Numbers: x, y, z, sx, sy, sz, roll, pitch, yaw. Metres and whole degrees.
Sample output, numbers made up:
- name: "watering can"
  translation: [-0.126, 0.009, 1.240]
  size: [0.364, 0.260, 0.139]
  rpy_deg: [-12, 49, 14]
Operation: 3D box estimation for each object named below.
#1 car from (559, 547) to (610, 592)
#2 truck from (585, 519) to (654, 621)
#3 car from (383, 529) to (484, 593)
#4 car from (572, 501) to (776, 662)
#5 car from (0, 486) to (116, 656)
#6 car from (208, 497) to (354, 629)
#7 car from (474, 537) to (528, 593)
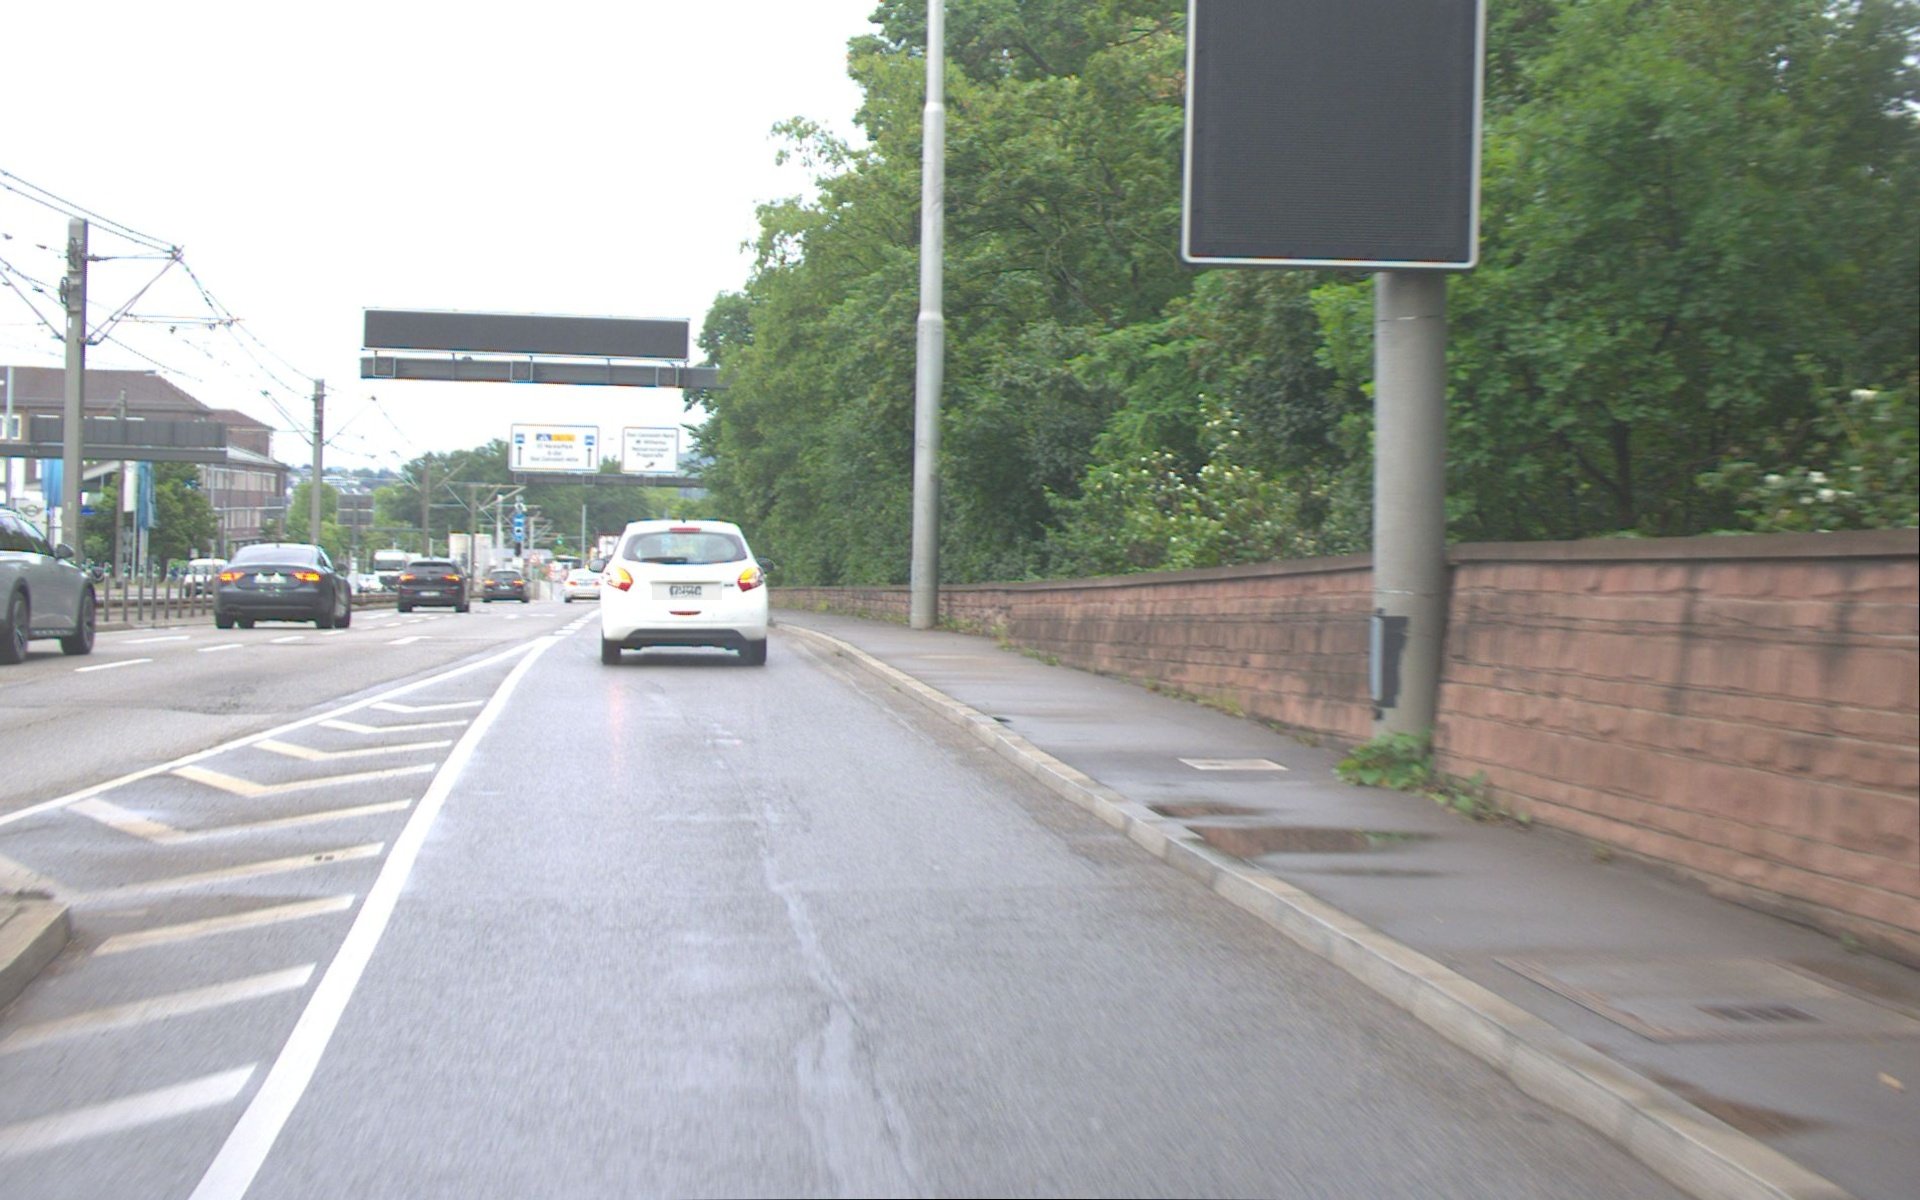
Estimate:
- name: "car"
  translation: [-16.308, -1.304, 149.324]
  size: [2.081, 1.866, 4.096]
  rpy_deg: [1, -1, -5]
- name: "truck"
  translation: [-20.592, -1.740, 208.475]
  size: [3.464, 5.383, 12.051]
  rpy_deg: [2, -3, -3]
- name: "car"
  translation: [-14.037, -1.031, 91.851]
  size: [1.993, 1.570, 4.000]
  rpy_deg: [2, 0, 1]
- name: "car"
  translation: [-2.996, -0.237, 36.056]
  size: [1.955, 1.483, 4.001]
  rpy_deg: [2, 2, -5]
- name: "car"
  translation: [-9.660, -0.257, 33.214]
  size: [1.821, 1.560, 4.091]
  rpy_deg: [-1, 0, 3]
- name: "car"
  translation: [-10.793, -0.620, 54.833]
  size: [1.721, 1.884, 3.536]
  rpy_deg: [1, 4, -2]
- name: "car"
  translation: [-19.019, -1.447, 142.485]
  size: [1.993, 2.007, 4.000]
  rpy_deg: [2, -3, -5]
